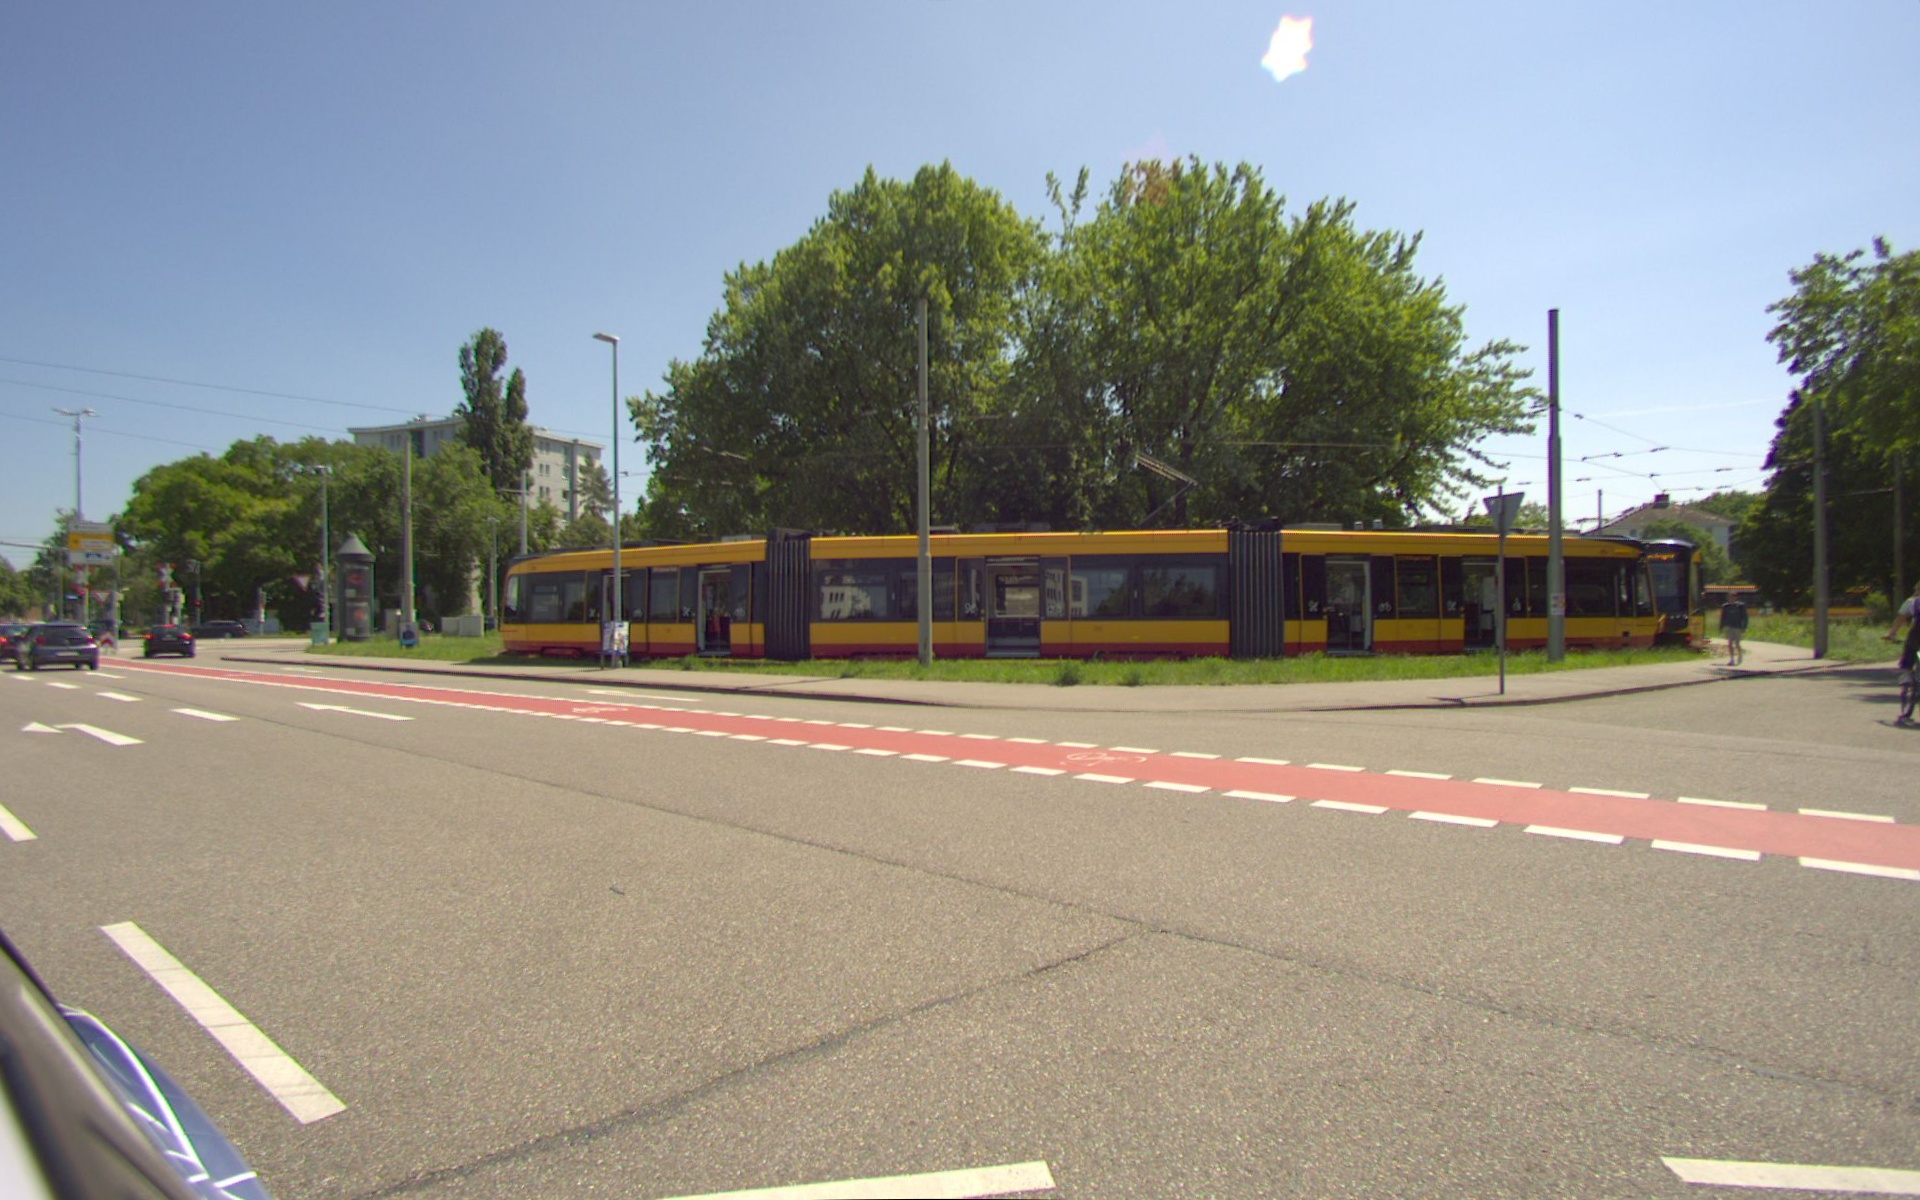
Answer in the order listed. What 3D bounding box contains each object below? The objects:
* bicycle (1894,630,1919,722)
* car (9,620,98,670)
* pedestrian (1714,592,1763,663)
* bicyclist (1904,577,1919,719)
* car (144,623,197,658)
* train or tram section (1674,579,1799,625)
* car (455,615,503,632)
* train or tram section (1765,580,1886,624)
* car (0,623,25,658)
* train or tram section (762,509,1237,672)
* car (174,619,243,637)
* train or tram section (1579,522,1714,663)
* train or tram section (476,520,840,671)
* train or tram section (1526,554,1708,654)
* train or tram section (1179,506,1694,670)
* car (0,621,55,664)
[{"bbox_3d":[12.144,0.942,12.412,0.669,1.063,2.022,-2,0,34],"label":"bicycle"},{"bbox_3d":[-28.212,1.358,31.472,3.499,1.467,1.605,-1,-2,41],"label":"car"},{"bbox_3d":[19.211,0.669,24.982,0.855,1.722,0.798,-2,-1,41],"label":"pedestrian"},{"bbox_3d":[12.087,0.576,12.359,0.665,1.719,0.760,-2,0,34],"label":"bicyclist"},{"bbox_3d":[-34.292,1.753,44.009,1.721,1.416,4.450,0,-2,-37],"label":"car"},{"bbox_3d":[74.921,0.240,97.569,12.530,4.287,3.035,0,-2,-19],"label":"train or tram section"},{"bbox_3d":[-40.406,1.973,85.072,3.582,1.296,1.610,-1,-3,-21],"label":"car"},{"bbox_3d":[86.817,0.289,101.497,12.530,4.287,3.035,0,-2,-18],"label":"train or tram section"},{"bbox_3d":[-41.778,1.738,43.579,4.410,1.467,1.772,-1,-2,41],"label":"car"},{"bbox_3d":[0.938,-0.126,25.870,11.484,3.788,3.018,-1,-2,9],"label":"train or tram section"},{"bbox_3d":[-58.145,2.188,78.342,3.931,1.296,1.893,-1,-3,-21],"label":"car"},{"bbox_3d":[23.027,0.007,33.709,3.020,3.788,14.021,-2,-2,36],"label":"train or tram section"},{"bbox_3d":[-9.460,0.075,30.261,12.961,3.788,2.990,-2,-2,35],"label":"train or tram section"},{"bbox_3d":[28.969,0.407,45.633,3.000,3.788,14.113,-1,-2,17],"label":"train or tram section"},{"bbox_3d":[12.725,-0.183,26.759,13.808,3.788,3.035,0,-2,-17],"label":"train or tram section"},{"bbox_3d":[-34.973,1.549,37.344,4.282,1.468,1.742,-1,-1,40],"label":"car"}]
